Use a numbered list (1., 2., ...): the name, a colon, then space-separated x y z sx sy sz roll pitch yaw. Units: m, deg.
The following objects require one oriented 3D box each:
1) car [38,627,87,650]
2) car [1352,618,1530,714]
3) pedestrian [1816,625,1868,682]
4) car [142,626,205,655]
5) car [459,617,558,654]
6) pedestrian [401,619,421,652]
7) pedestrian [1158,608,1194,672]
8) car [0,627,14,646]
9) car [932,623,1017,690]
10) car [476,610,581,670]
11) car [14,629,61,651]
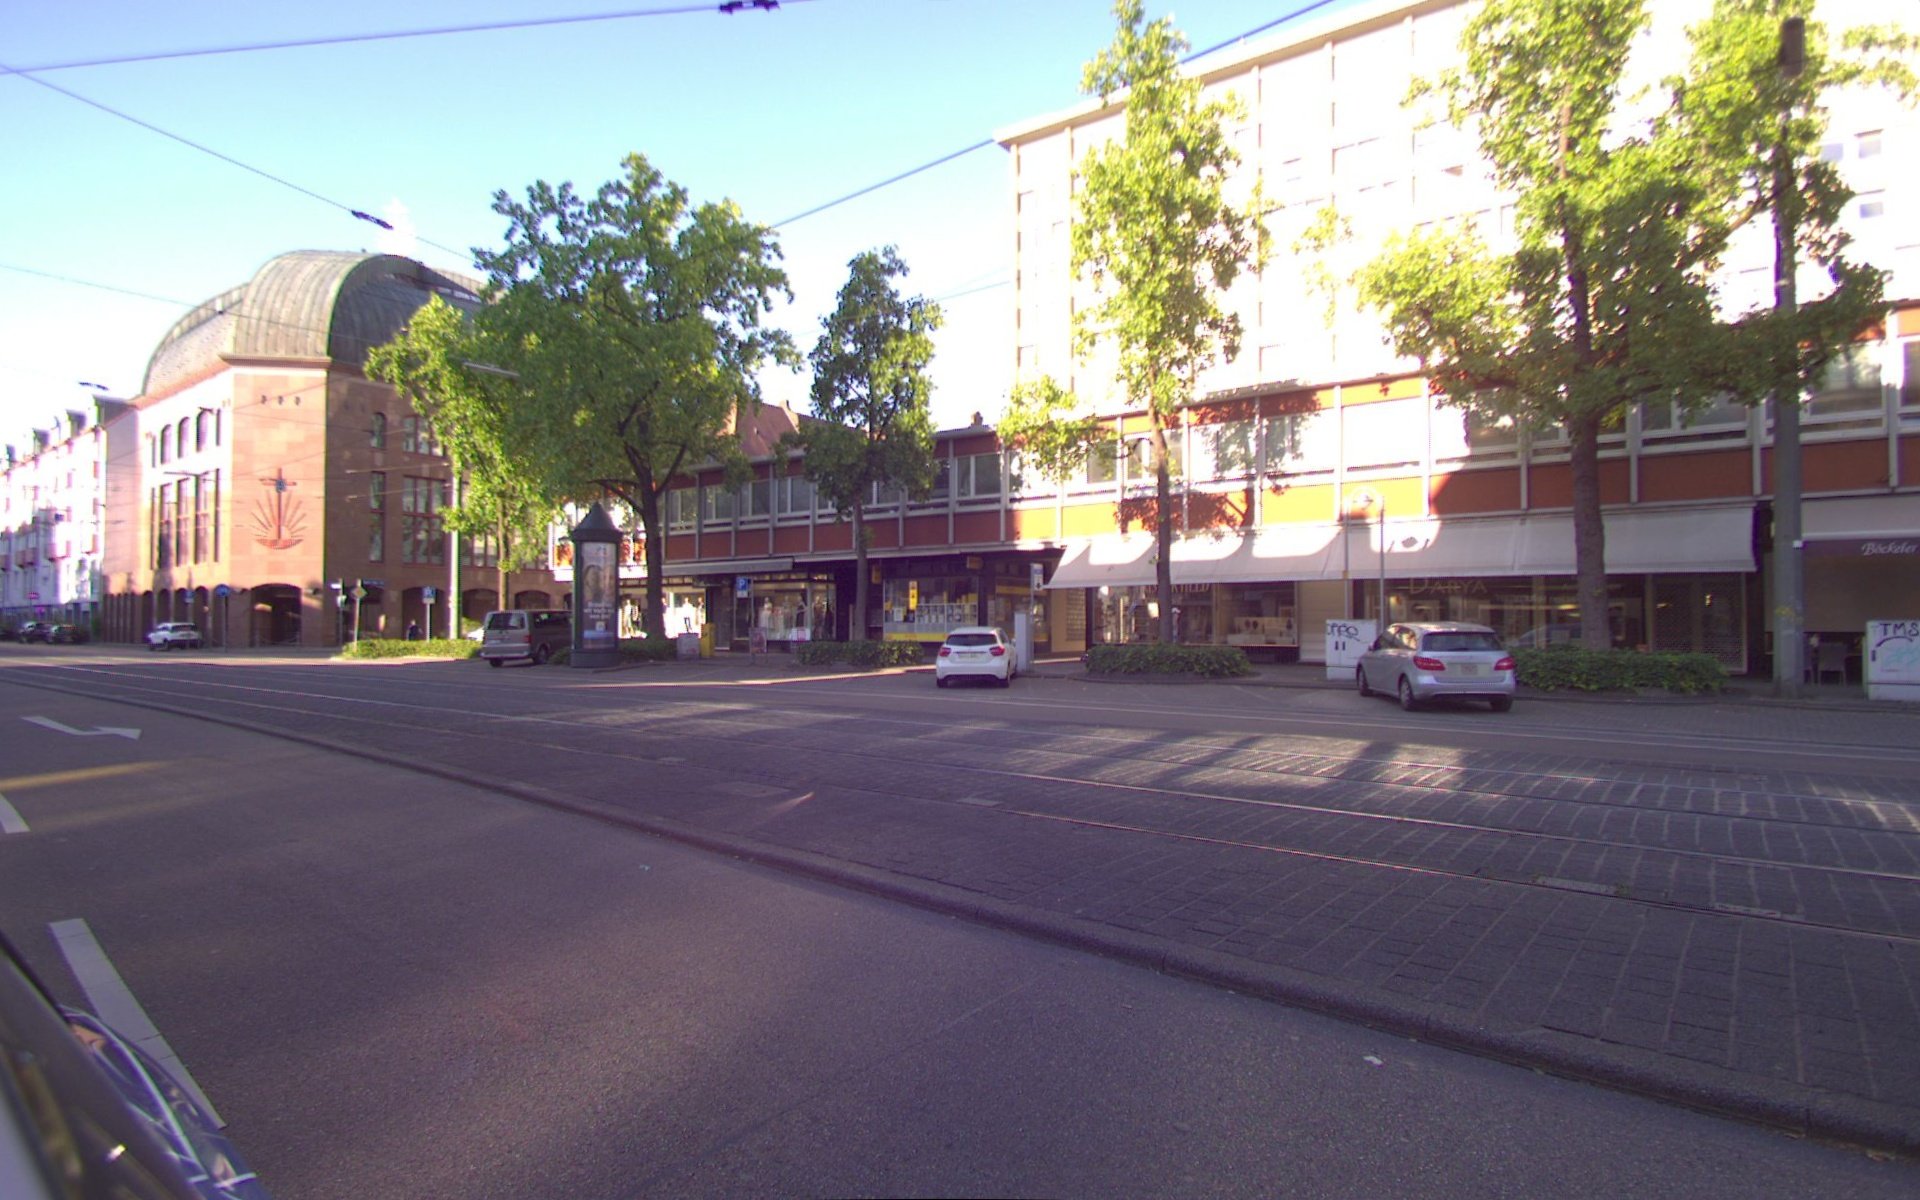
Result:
1. car: -66.808 2.831 75.325 3.992 1.615 1.942 -1 -1 36
2. car: 8.880 1.148 19.067 1.776 1.566 3.992 -1 -1 6
3. pedestrian: 18.963 1.142 21.780 0.726 1.181 0.770 -1 -2 35
4. car: -45.587 2.310 58.646 3.992 1.615 1.888 -1 -1 36
5. car: -26.260 2.069 58.968 1.996 2.029 4.926 -1 -2 36
6. pedestrian: -29.722 1.902 54.821 0.548 1.761 0.780 -2 -3 41
7. pedestrian: 6.148 1.129 28.773 0.626 1.782 0.770 1 -1 -36
8. car: -86.798 3.298 90.931 3.992 1.615 1.942 -1 -1 36
9. car: 0.450 1.360 25.600 1.776 1.486 3.992 -1 -1 6
10. car: -15.217 1.372 35.920 1.886 1.979 3.996 0 -1 3
11. car: -72.089 3.084 79.061 3.992 1.615 1.942 -1 -1 36
